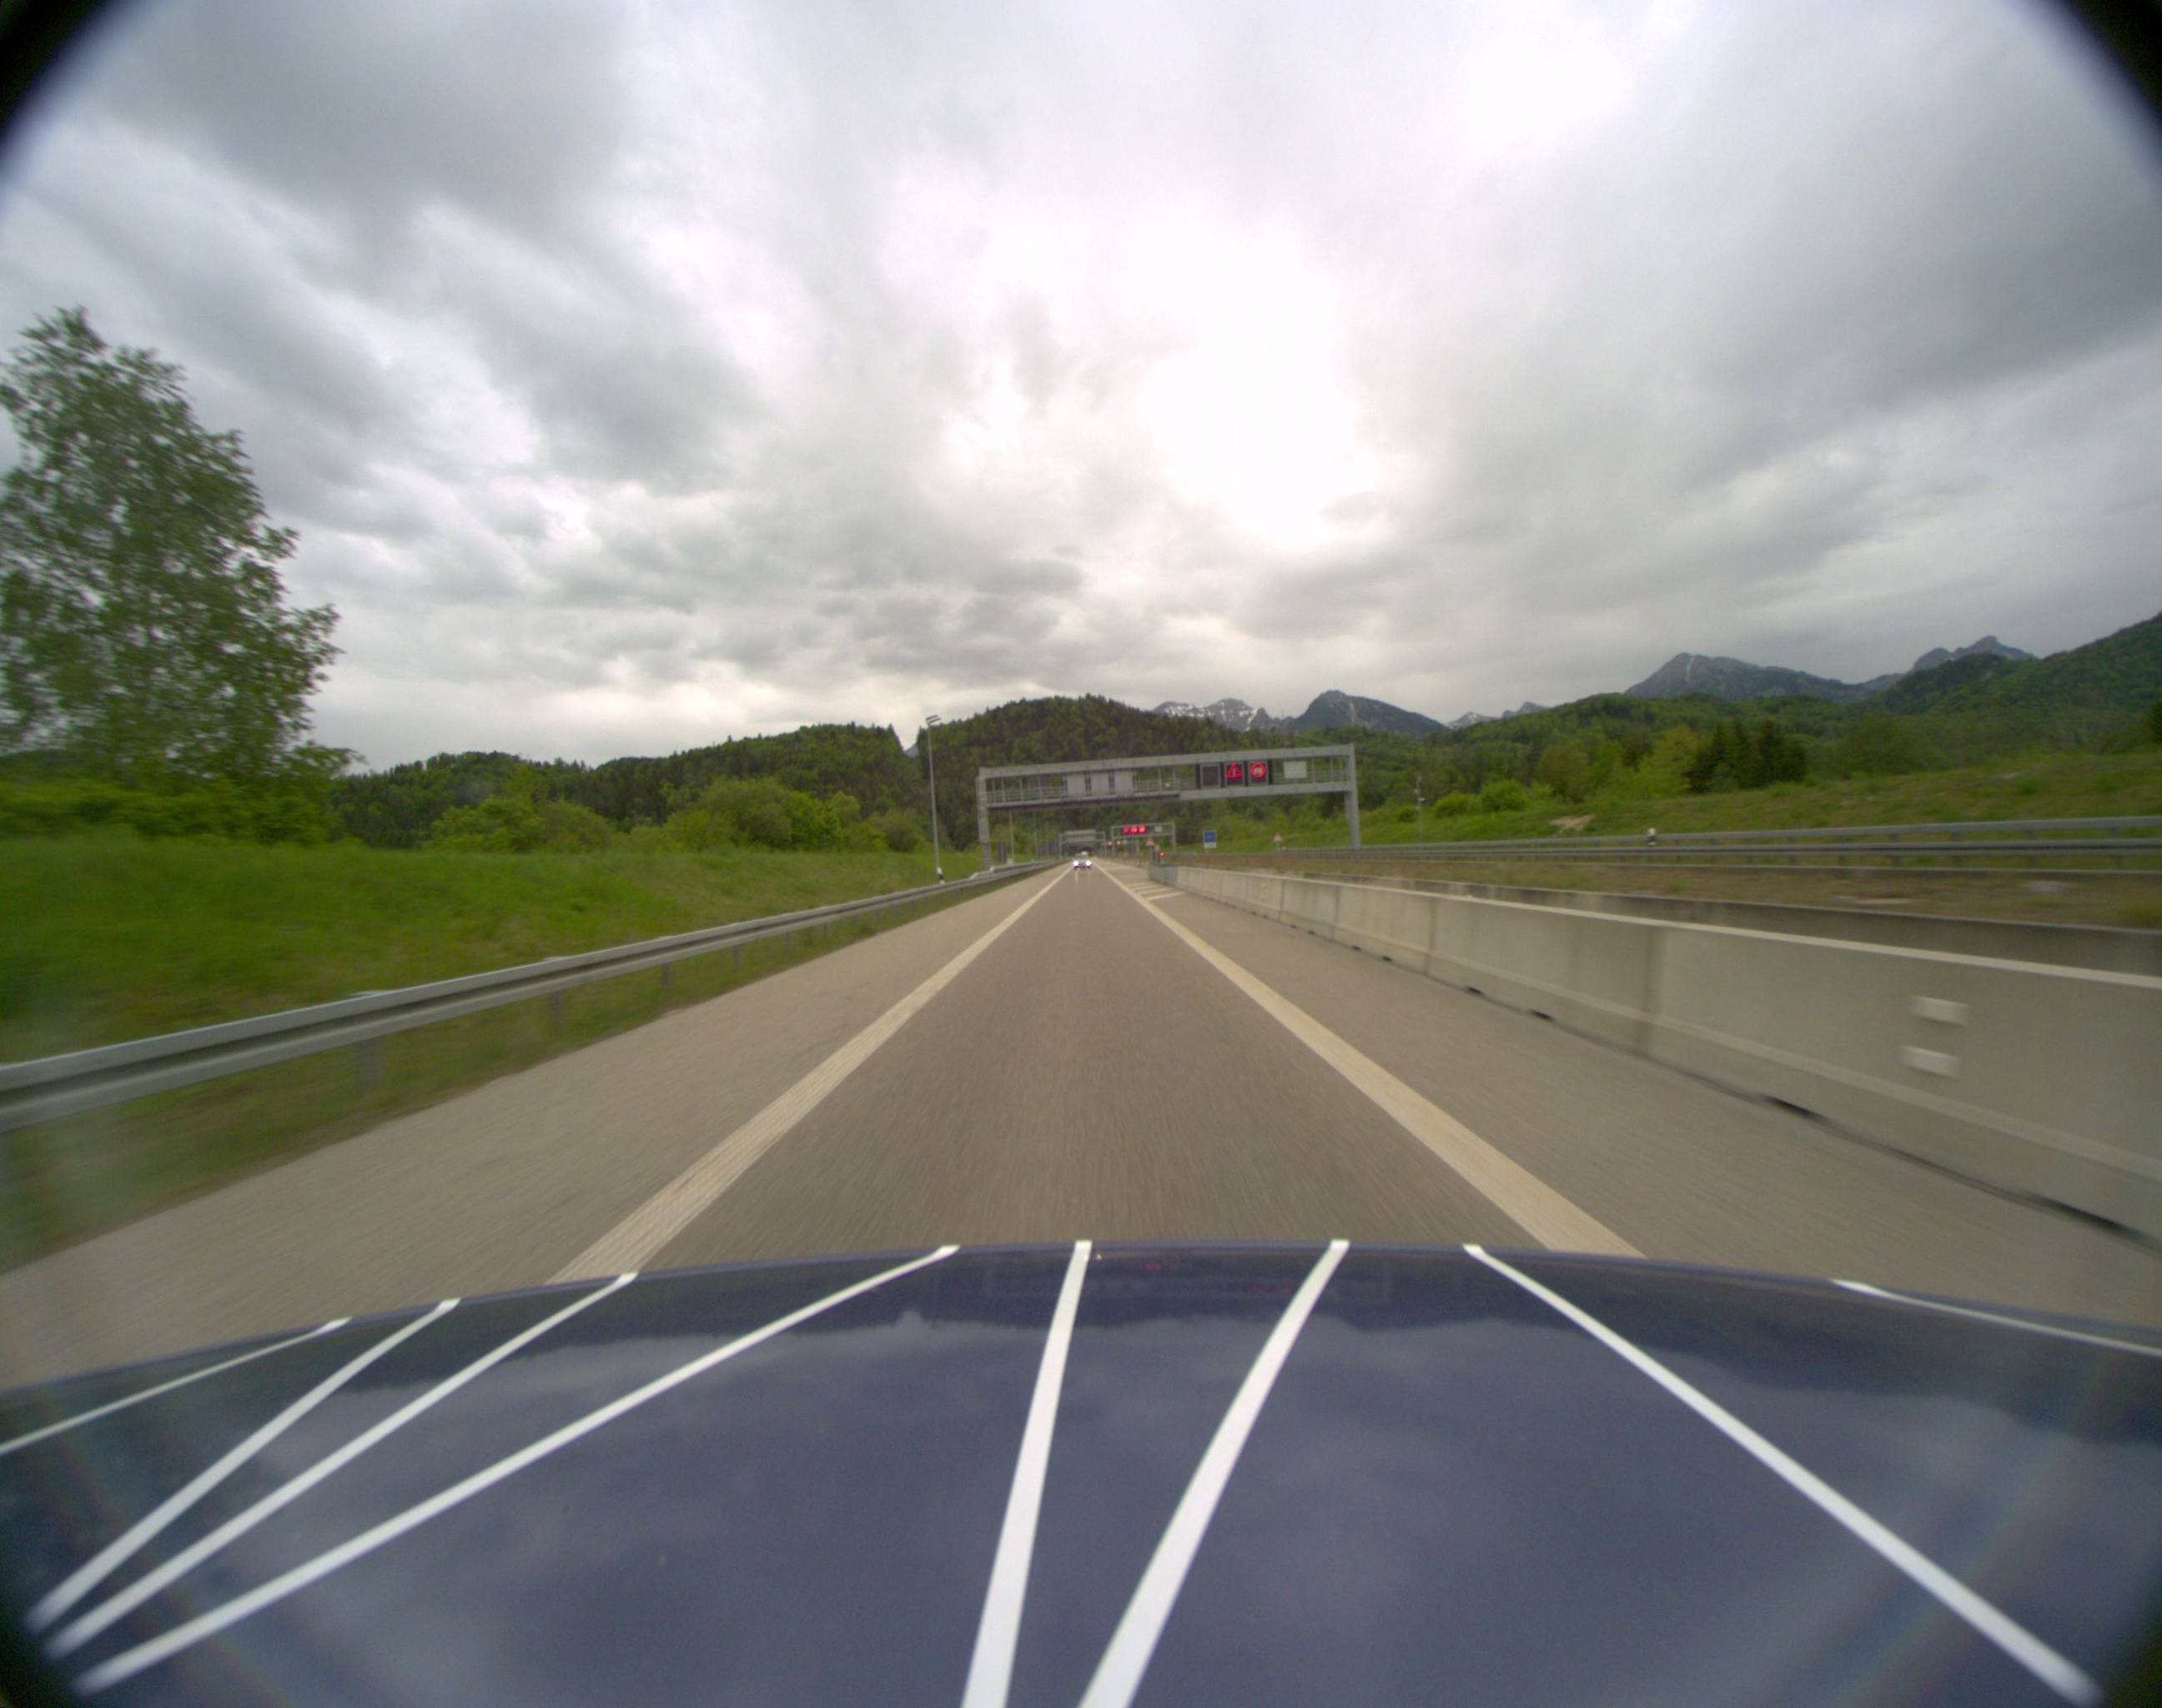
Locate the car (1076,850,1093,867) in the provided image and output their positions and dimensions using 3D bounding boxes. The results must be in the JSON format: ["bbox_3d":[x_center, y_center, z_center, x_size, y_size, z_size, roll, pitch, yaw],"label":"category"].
[{"bbox_3d":[0.409,0.495,88.833,1.923,1.871,5.137,-2,1,0],"label":"car"}]
